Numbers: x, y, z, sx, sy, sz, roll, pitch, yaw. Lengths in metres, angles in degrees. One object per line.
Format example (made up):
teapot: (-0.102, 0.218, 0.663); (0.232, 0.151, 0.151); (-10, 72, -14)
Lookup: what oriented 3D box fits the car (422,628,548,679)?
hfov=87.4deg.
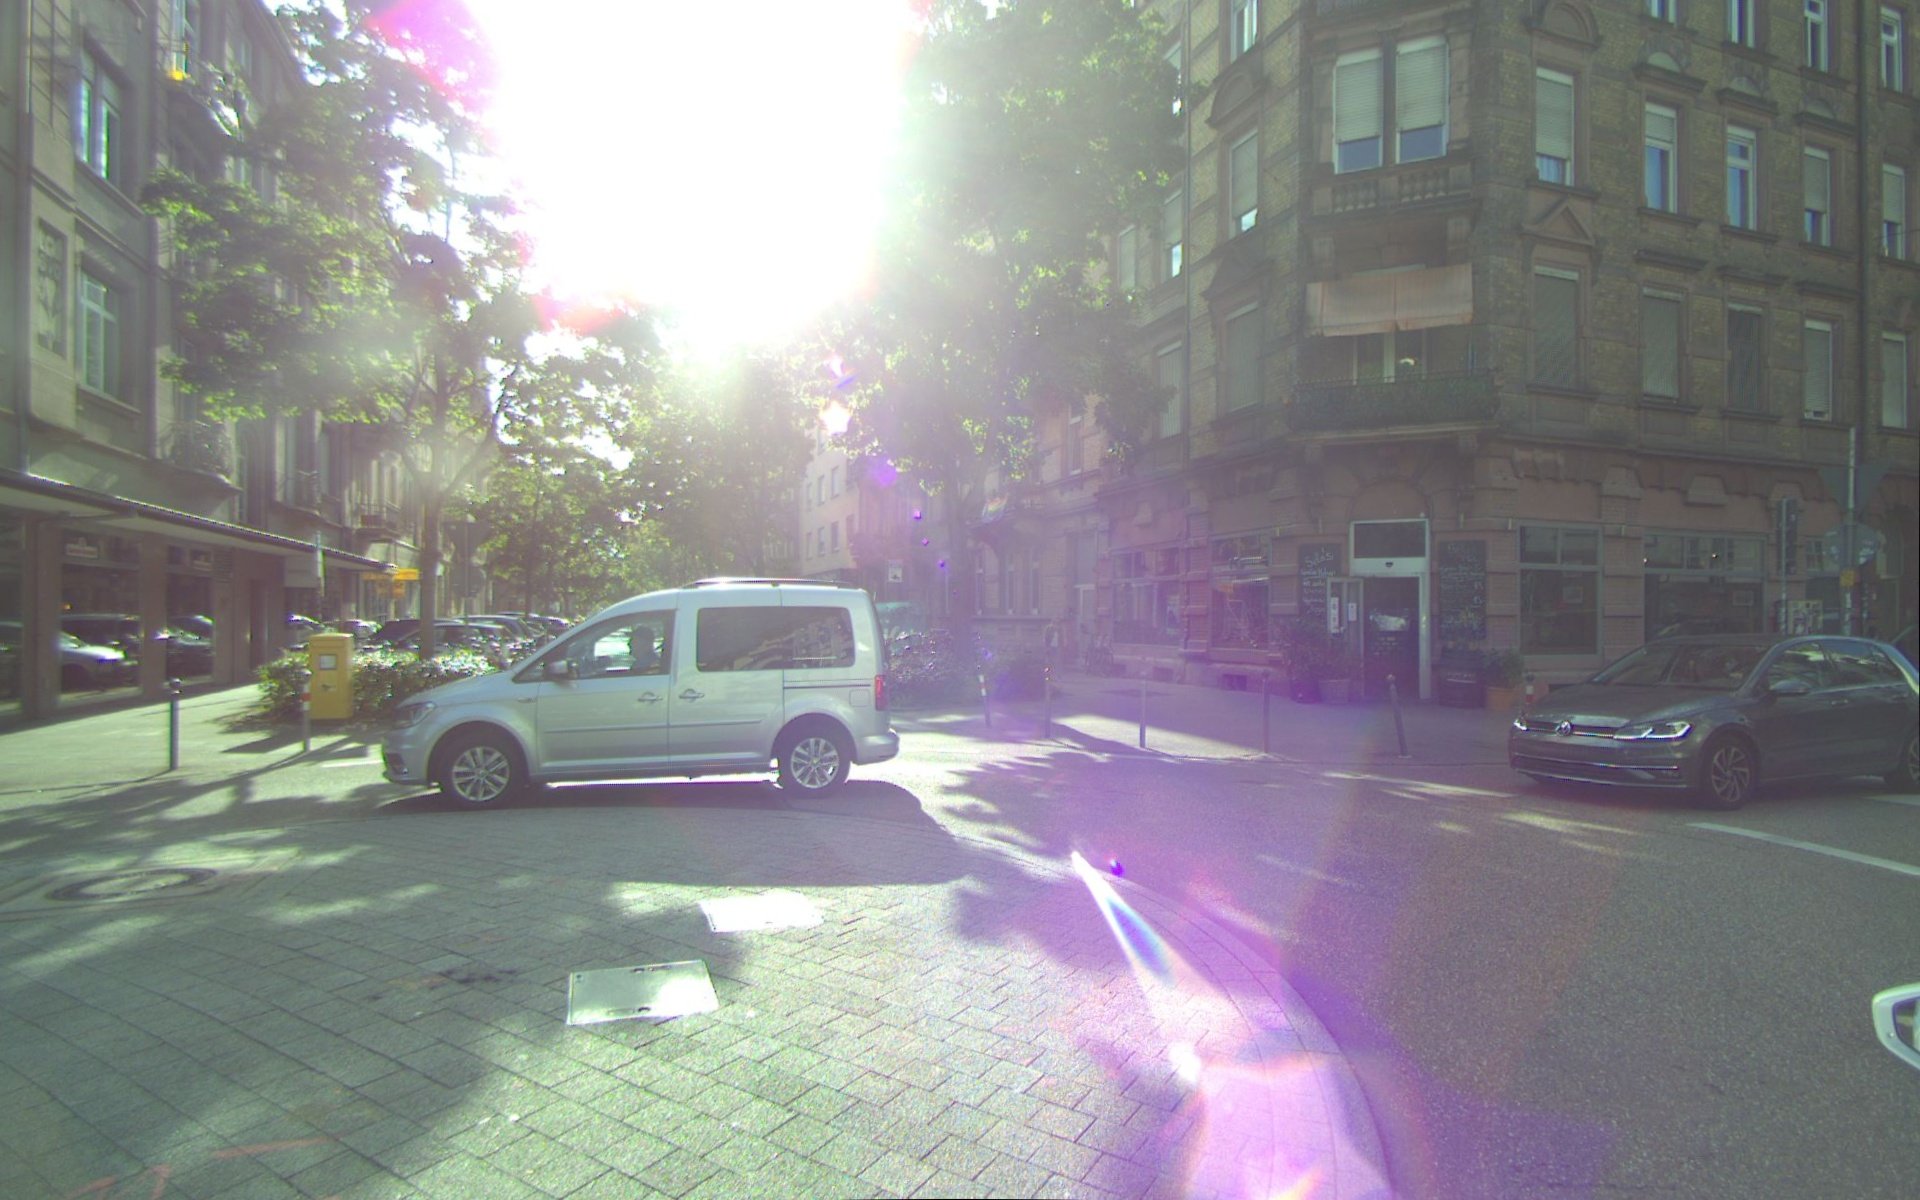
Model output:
car: (-14.304, 1.605, 30.399); (3.288, 1.462, 1.371); (0, -2, -20)

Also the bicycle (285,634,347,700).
bicycle: (-12.274, 1.240, 19.196); (0.571, 1.149, 2.419); (0, -1, -22)

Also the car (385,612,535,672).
car: (-14.190, 1.159, 28.715); (3.642, 1.618, 1.570); (0, 1, -20)

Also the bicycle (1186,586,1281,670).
bicycle: (5.285, 0.534, 19.562); (0.549, 1.541, 2.151); (0, -1, -25)

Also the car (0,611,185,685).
car: (-20.442, 1.064, 23.074); (3.953, 1.572, 1.752); (0, 1, -30)

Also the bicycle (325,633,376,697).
bicycle: (-11.756, 1.219, 19.426); (0.472, 1.149, 2.419); (0, -1, -22)

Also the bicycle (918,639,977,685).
bicycle: (-0.328, 1.481, 24.377); (0.583, 1.025, 2.063); (-2, 0, -25)

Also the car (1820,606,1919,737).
car: (15.243, 1.011, 15.062); (4.341, 1.797, 1.756); (0, 1, -22)

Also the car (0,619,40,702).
car: (-19.214, 1.100, 17.821); (3.953, 1.449, 1.752); (0, 1, -30)

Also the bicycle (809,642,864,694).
bicycle: (-2.835, 1.513, 22.848); (0.583, 1.043, 2.128); (-2, 0, -25)

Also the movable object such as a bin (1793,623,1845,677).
movable object such as a bin: (11.868, 0.686, 13.879); (0.469, 0.724, 0.382); (0, 1, -25)

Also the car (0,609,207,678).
car: (-21.556, 1.044, 25.288); (3.953, 1.572, 1.752); (0, 1, -30)

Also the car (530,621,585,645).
car: (-26.301, 2.151, 65.751); (3.288, 1.495, 1.401); (0, -2, -20)

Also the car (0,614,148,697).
car: (-19.046, 1.088, 20.217); (3.953, 1.572, 1.752); (0, 1, -30)

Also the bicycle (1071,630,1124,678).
bicycle: (3.346, 1.313, 24.579); (0.520, 1.081, 1.775); (2, -1, -20)

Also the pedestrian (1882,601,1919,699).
pedestrian: (18.656, 0.959, 19.594); (0.846, 1.865, 0.674); (0, 2, -27)

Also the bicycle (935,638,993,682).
bicycle: (0.082, 1.479, 25.031); (0.583, 0.981, 2.063); (-2, 0, -25)

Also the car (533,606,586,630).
car: (-27.700, 1.244, 69.575); (3.307, 1.615, 1.589); (0, 1, -19)

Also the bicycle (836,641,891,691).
bicycle: (-2.279, 1.513, 23.392); (0.583, 1.043, 2.063); (-2, 0, -25)

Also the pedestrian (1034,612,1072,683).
pedestrian: (2.167, 1.092, 23.464); (0.605, 1.599, 0.807); (-3, 1, -15)

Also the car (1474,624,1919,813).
car: (7.003, 0.999, 9.315); (3.939, 1.456, 1.790); (1, -3, -20)

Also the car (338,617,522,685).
car: (-12.556, 1.168, 24.019); (3.639, 1.496, 1.571); (0, 1, -17)

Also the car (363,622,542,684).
car: (-13.217, 1.346, 26.393); (4.012, 1.496, 1.570); (0, 1, -20)

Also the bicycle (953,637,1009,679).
bicycle: (0.517, 1.477, 25.815); (0.583, 0.981, 2.063); (-2, 0, -25)

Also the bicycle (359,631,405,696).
bicycle: (-11.269, 1.200, 19.635); (0.472, 1.149, 2.418); (0, -1, -22)

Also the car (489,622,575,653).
car: (-18.366, 1.613, 43.232); (3.288, 1.270, 1.371); (0, -2, -20)

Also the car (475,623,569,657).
car: (-17.172, 1.565, 39.520); (3.288, 1.270, 1.371); (0, -2, -20)

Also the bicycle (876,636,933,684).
bicycle: (-1.349, 1.399, 23.916); (0.583, 1.025, 2.063); (-2, 0, -25)

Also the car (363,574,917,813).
car: (-2.635, 0.765, 9.006); (4.255, 1.814, 1.831); (1, -2, -12)
